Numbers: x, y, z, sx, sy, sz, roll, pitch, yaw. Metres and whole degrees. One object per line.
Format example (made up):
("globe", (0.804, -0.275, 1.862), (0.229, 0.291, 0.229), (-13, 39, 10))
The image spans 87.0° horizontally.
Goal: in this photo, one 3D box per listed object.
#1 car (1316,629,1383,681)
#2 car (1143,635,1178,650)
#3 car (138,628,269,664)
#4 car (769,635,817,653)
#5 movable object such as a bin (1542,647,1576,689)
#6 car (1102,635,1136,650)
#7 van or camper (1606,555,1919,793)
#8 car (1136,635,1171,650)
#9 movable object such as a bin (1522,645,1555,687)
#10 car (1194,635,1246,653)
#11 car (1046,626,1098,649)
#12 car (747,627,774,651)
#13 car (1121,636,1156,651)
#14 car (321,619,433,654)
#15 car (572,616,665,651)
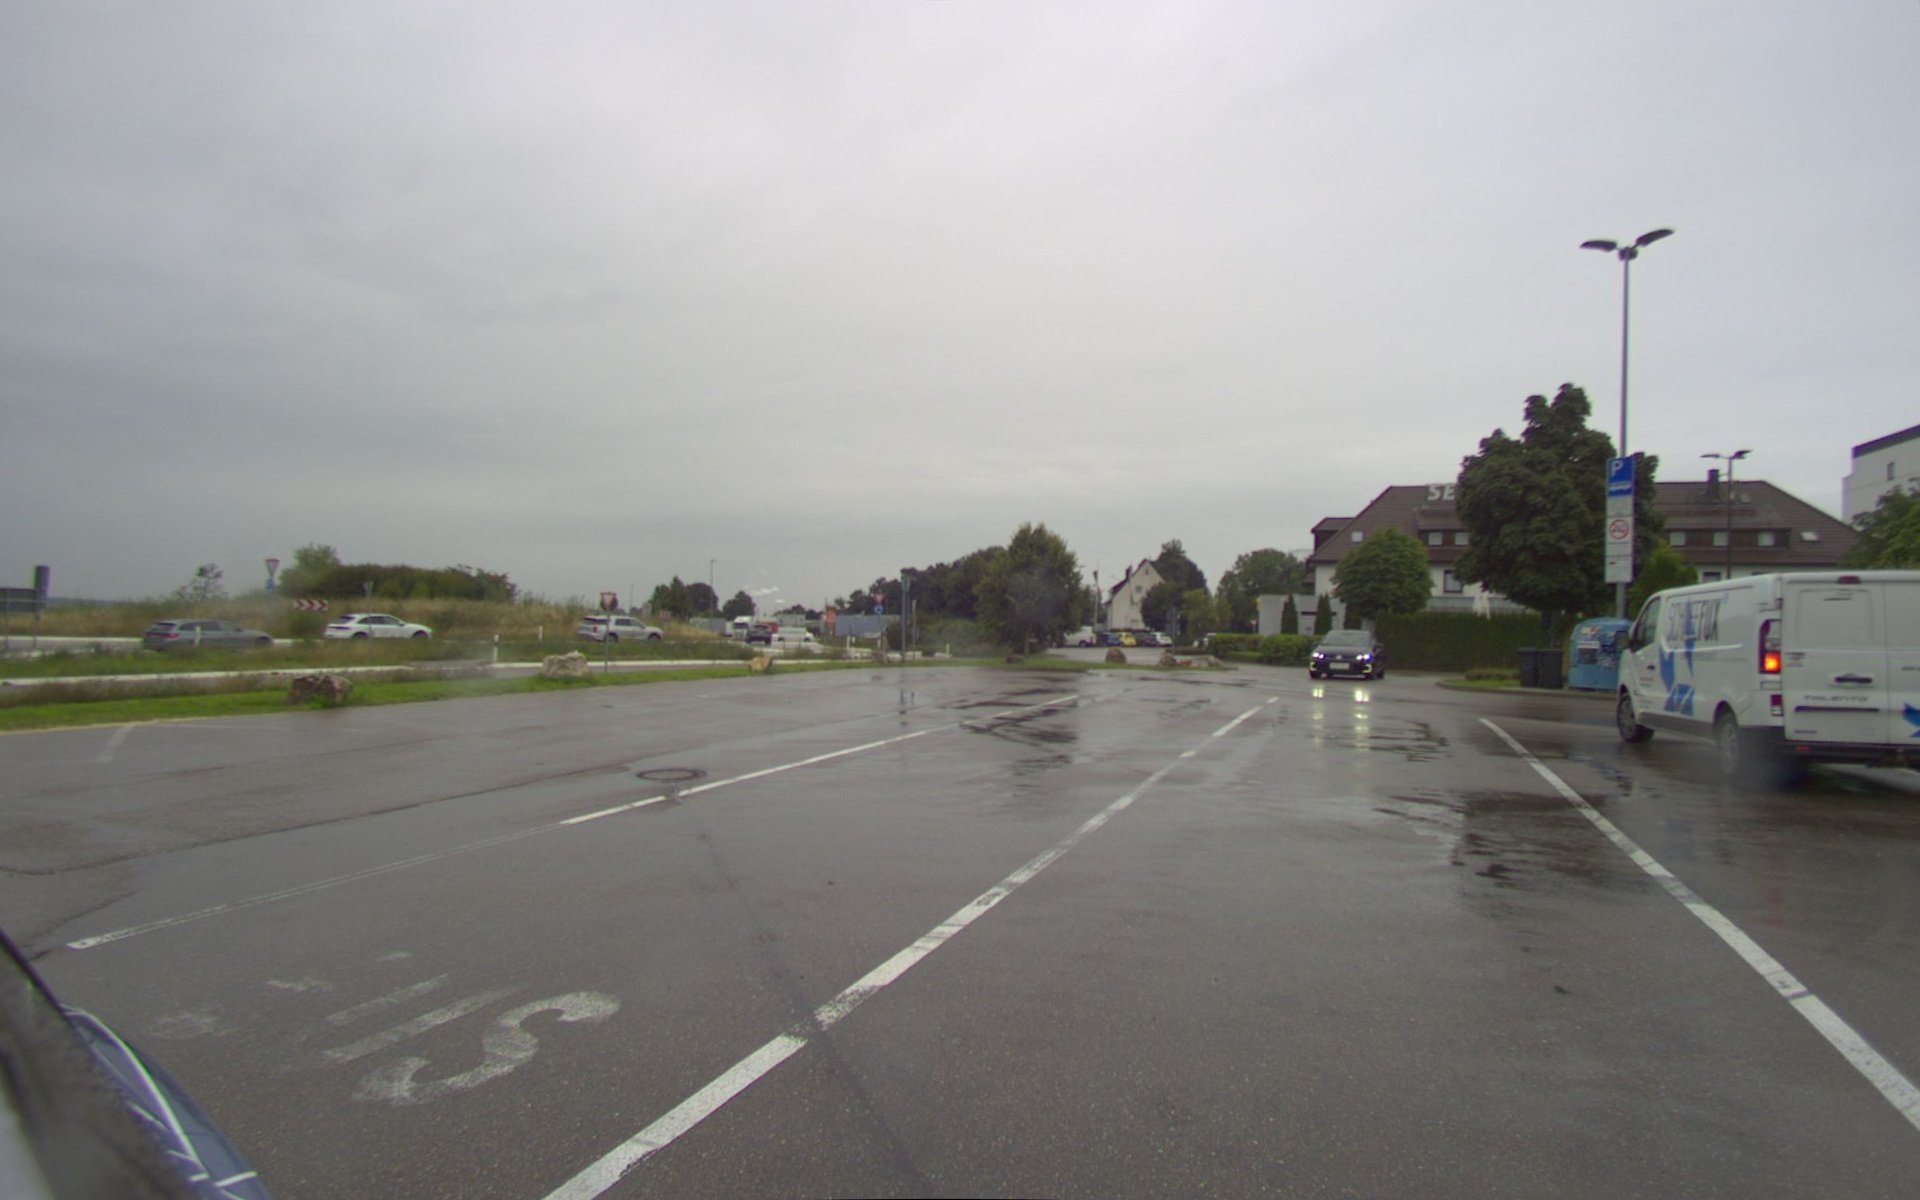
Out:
("car", (11.684, 1.593, 30.371), (1.767, 1.444, 4.048), (0, -2, 22))
("car", (20.803, 4.425, 105.023), (1.558, 1.469, 3.692), (1, -2, -27))
("car", (-30.429, 1.827, 40.860), (1.679, 1.336, 4.020), (0, -2, 17))
("car", (-16.300, 4.300, 98.823), (4.298, 1.772, 1.751), (3, -4, -41))
("movable object such as a bin", (13.501, 1.523, 22.810), (0.443, 0.924, 0.489), (0, -2, -1))
("car", (15.971, 4.301, 101.895), (1.529, 1.469, 3.692), (1, -2, -27))
("van or camper", (8.837, 0.693, 10.767), (2.178, 1.960, 5.162), (0, -2, 20))
("car", (19.729, 4.351, 103.491), (1.558, 1.469, 3.692), (1, -2, -27))
("movable object such as a bin", (13.339, 1.525, 23.344), (0.443, 0.946, 0.489), (0, -2, -1))
("car", (21.857, 3.684, 84.989), (4.155, 1.509, 1.707), (-1, -2, 19))
("car", (10.357, 3.438, 93.466), (4.499, 2.049, 1.634), (0, -2, 19))
("car", (-15.755, 3.073, 80.067), (1.689, 1.830, 3.719), (0, -2, -5))
("car", (18.073, 4.351, 102.630), (1.558, 1.469, 3.692), (1, -2, -27))
("car", (-27.749, 1.734, 48.277), (1.689, 1.596, 4.335), (-1, -2, 34))
("car", (-19.325, 1.890, 57.379), (2.000, 1.887, 4.578), (-2, -3, 43))
